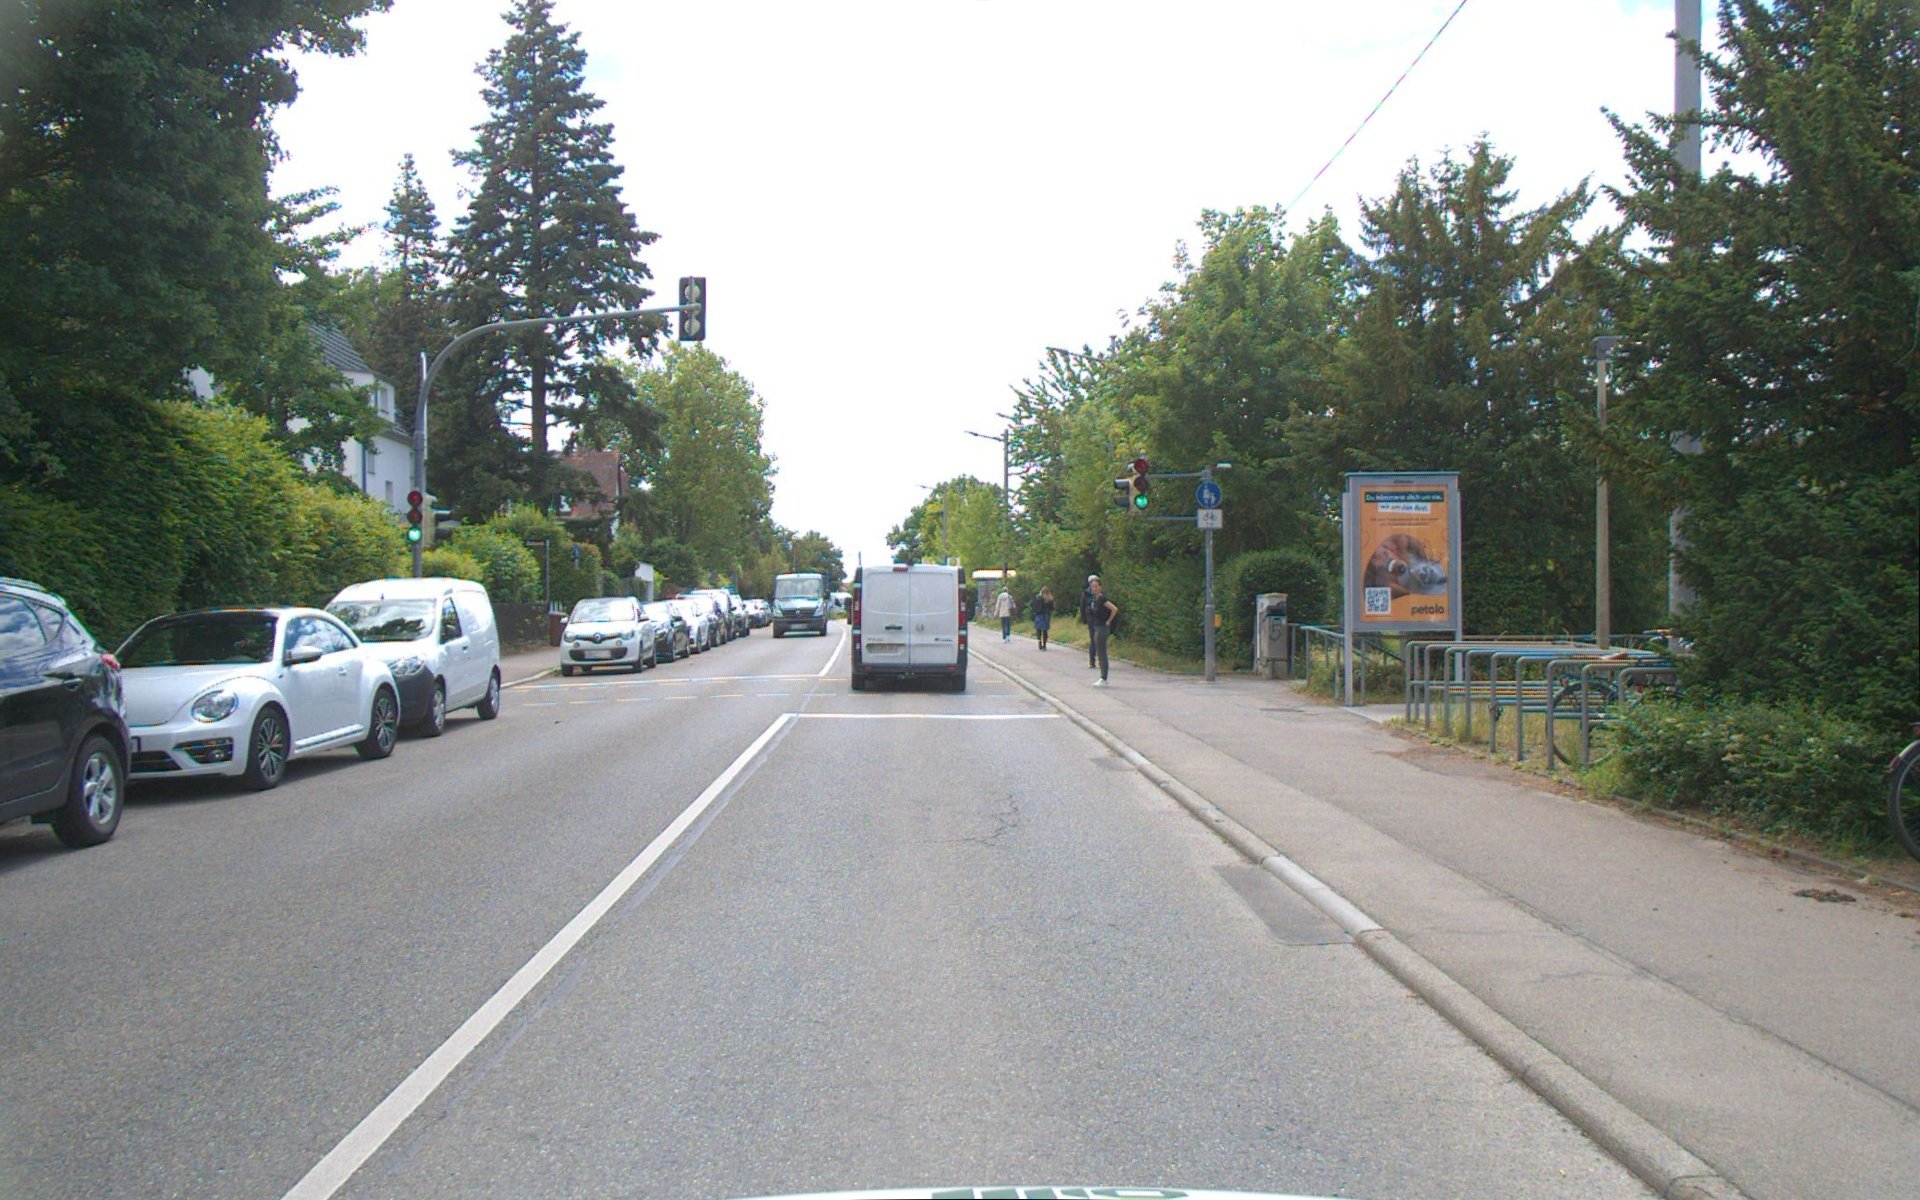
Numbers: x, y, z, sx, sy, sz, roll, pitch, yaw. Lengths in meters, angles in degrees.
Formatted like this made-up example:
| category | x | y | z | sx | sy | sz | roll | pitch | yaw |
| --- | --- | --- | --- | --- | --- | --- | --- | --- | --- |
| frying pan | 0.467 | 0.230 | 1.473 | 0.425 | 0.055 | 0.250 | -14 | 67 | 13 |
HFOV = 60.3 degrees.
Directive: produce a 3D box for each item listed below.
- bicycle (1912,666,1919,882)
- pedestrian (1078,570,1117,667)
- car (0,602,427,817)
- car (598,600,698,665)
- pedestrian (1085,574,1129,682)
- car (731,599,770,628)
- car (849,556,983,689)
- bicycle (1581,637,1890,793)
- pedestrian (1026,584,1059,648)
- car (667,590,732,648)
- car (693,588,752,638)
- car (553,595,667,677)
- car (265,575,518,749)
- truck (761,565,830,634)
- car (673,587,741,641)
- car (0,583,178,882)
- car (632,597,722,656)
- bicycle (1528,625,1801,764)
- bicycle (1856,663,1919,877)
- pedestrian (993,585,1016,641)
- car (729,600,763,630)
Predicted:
| category | x | y | z | sx | sy | sz | roll | pitch | yaw |
| --- | --- | --- | --- | --- | --- | --- | --- | --- | --- |
| bicycle | 5.785 | 0.879 | 8.114 | 2.048 | 1.066 | 0.450 | 1 | 0 | -5 |
| pedestrian | 2.787 | 0.371 | 33.512 | 0.729 | 1.915 | 0.801 | 1 | 0 | 3 |
| car | -6.292 | 0.818 | 14.542 | 1.670 | 1.478 | 4.358 | -3 | 0 | 1 |
| car | -7.615 | 0.751 | 40.739 | 1.708 | 1.435 | 4.322 | -2 | 0 | -2 |
| pedestrian | 2.335 | 0.444 | 26.386 | 0.634 | 1.693 | 0.708 | 1 | 0 | 2 |
| car | -11.444 | 0.736 | 90.628 | 1.830 | 1.484 | 4.485 | -1 | 0 | -4 |
| car | -0.810 | 0.349 | 27.594 | 1.994 | 1.979 | 4.990 | 1 | 0 | -3 |
| bicycle | 5.823 | 0.854 | 12.478 | 2.046 | 1.065 | 0.559 | 2 | 0 | 0 |
| pedestrian | 2.189 | 0.420 | 43.805 | 0.822 | 1.688 | 0.766 | 1 | 0 | 1 |
| car | -8.367 | 0.583 | 53.403 | 1.594 | 1.707 | 4.580 | -3 | 0 | -4 |
| car | -9.279 | 0.484 | 64.994 | 1.946 | 1.851 | 4.703 | 0 | 0 | -4 |
| car | -7.363 | 0.717 | 35.088 | 1.668 | 1.570 | 3.741 | -2 | 0 | -2 |
| car | -6.677 | 0.646 | 19.936 | 1.643 | 1.789 | 4.604 | -2 | 0 | -3 |
| truck | -6.149 | -0.040 | 62.577 | 2.145 | 2.413 | 6.901 | -2 | 0 | -2 |
| car | -8.964 | 0.484 | 58.920 | 2.026 | 1.785 | 4.878 | 1 | 0 | -5 |
| car | -6.140 | 0.725 | 8.952 | 1.859 | 1.621 | 4.640 | 0 | 0 | -4 |
| car | -7.877 | 0.693 | 46.480 | 1.769 | 1.484 | 5.067 | -2 | 0 | -2 |
| bicycle | 5.891 | 0.783 | 13.888 | 2.046 | 1.100 | 0.546 | -1 | 0 | 0 |
| bicycle | 5.808 | 0.886 | 8.671 | 2.048 | 1.066 | 0.450 | 1 | 0 | -5 |
| pedestrian | 1.371 | 0.406 | 50.559 | 0.672 | 1.688 | 0.690 | 1 | 0 | 1 |
| car | -11.089 | 0.751 | 85.726 | 1.621 | 1.452 | 3.898 | -2 | 0 | -9 |
